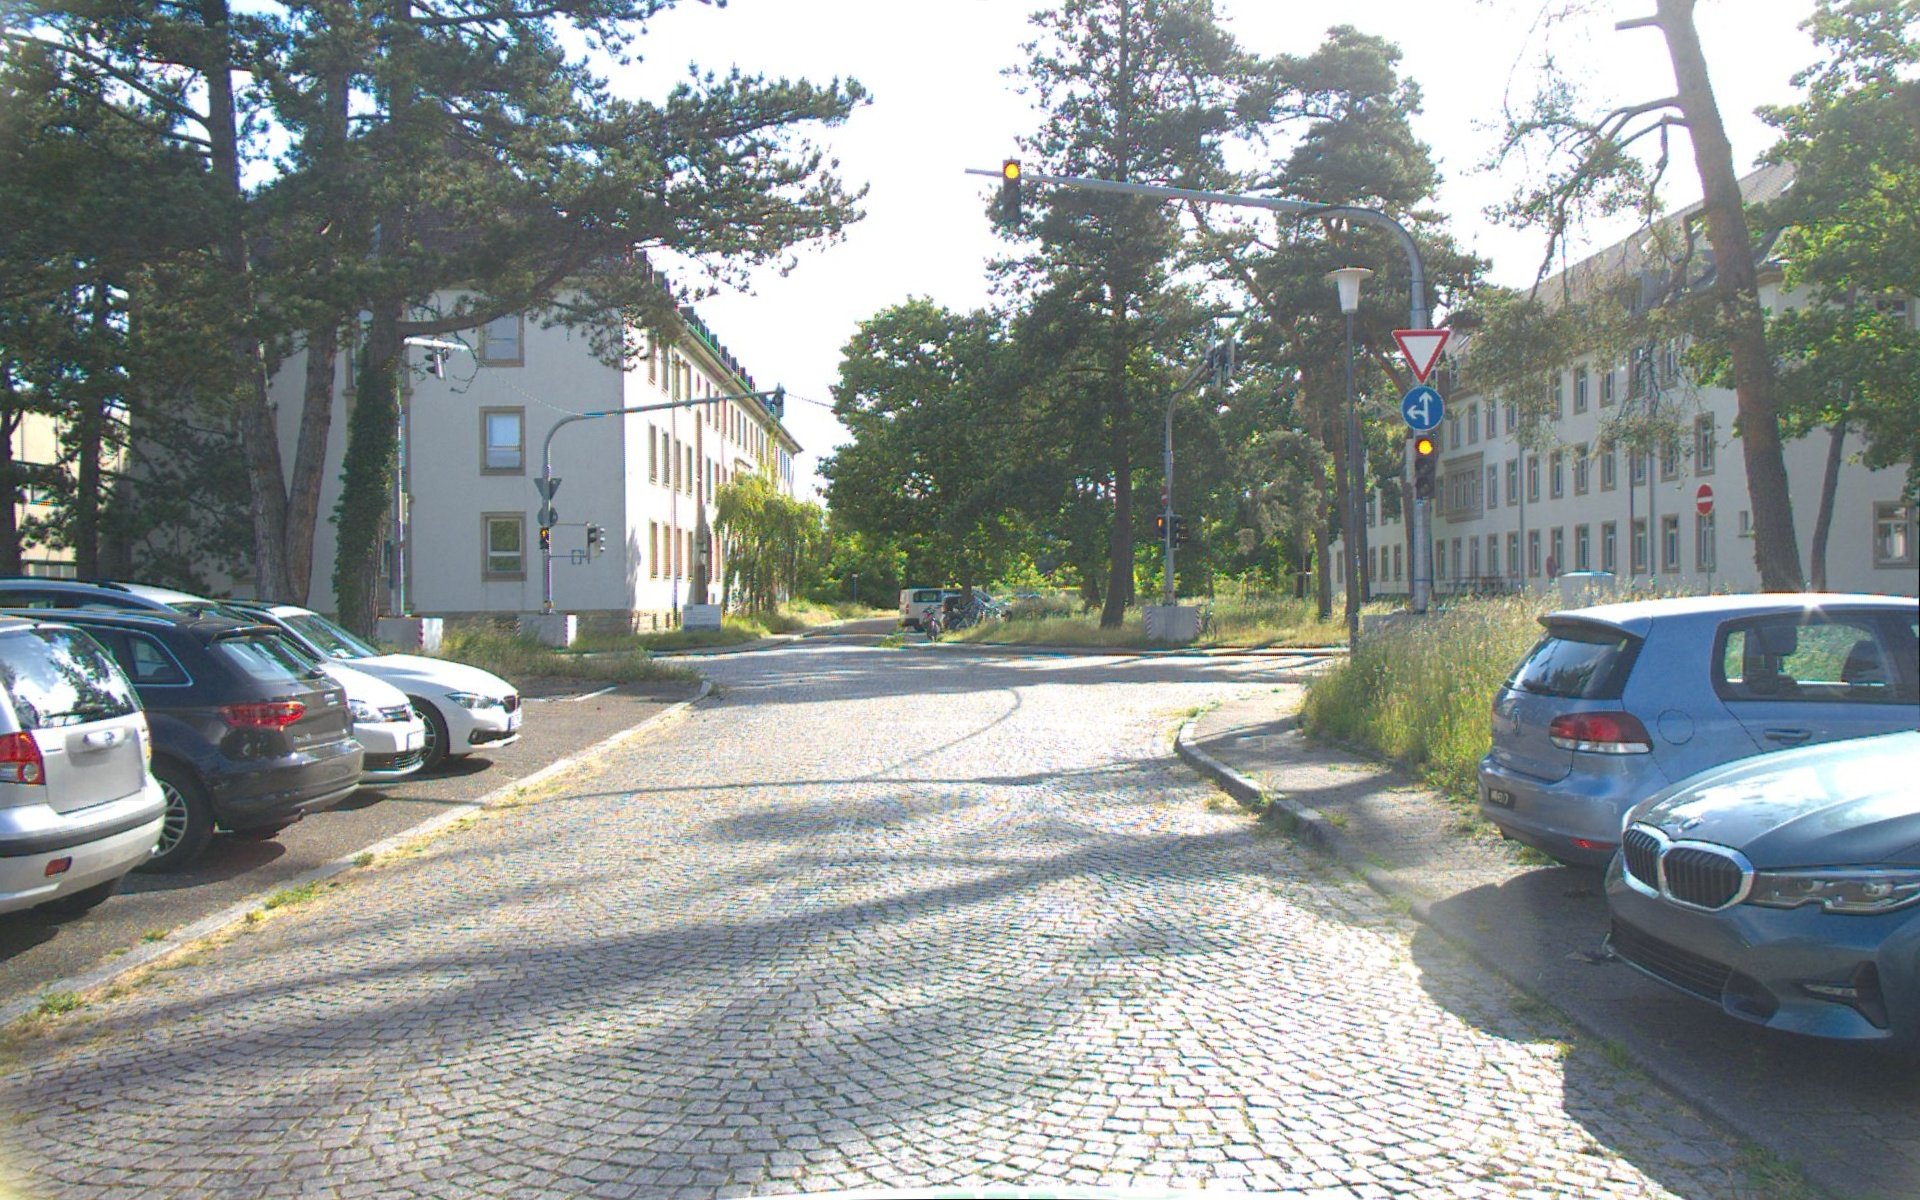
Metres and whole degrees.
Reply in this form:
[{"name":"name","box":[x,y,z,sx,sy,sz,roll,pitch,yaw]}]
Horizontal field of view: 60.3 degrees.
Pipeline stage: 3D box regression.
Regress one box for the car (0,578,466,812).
[{"name":"car","box":[-6.147,0.689,12.951,4.000,1.621,1.884,1,0,-4]}]

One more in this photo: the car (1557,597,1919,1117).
[{"name":"car","box":[4.583,0.685,5.650,4.467,1.440,1.636,-2,1,-1]}]

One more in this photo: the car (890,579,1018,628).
[{"name":"car","box":[-0.269,0.153,75.202,5.438,2.049,1.989,2,-1,-19]}]

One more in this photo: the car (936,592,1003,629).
[{"name":"car","box":[0.411,0.449,71.699,2.728,1.492,1.669,1,-1,-6]}]

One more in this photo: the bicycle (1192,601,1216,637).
[{"name":"bicycle","box":[6.658,0.513,45.242,0.294,0.977,1.584,1,-1,-4]}]

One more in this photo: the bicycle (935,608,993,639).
[{"name":"bicycle","box":[0.134,0.835,58.928,1.967,1.028,0.631,2,-1,-9]}]

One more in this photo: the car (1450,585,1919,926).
[{"name":"car","box":[4.640,0.676,8.354,3.803,1.440,1.636,-2,1,-1]}]

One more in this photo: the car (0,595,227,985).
[{"name":"car","box":[-5.441,0.721,7.267,3.672,1.513,1.644,1,0,-4]}]

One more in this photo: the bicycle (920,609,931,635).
[{"name":"bicycle","box":[-1.400,0.878,66.840,0.409,1.028,1.483,1,-1,0]}]

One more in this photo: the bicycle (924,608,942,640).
[{"name":"bicycle","box":[-0.886,0.767,53.616,0.458,1.028,1.584,1,-1,-4]}]

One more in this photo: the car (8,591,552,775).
[{"name":"car","box":[-6.118,0.729,15.310,4.248,1.494,1.829,1,0,-4]}]

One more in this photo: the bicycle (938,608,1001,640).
[{"name":"bicycle","box":[0.326,0.825,57.219,2.070,1.028,0.620,2,-1,-9]}]

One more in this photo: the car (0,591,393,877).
[{"name":"car","box":[-5.670,0.721,9.917,3.908,1.506,1.802,1,0,-4]}]

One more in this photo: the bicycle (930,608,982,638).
[{"name":"bicycle","box":[-0.143,0.843,60.679,1.803,1.028,0.635,2,-1,-9]}]
